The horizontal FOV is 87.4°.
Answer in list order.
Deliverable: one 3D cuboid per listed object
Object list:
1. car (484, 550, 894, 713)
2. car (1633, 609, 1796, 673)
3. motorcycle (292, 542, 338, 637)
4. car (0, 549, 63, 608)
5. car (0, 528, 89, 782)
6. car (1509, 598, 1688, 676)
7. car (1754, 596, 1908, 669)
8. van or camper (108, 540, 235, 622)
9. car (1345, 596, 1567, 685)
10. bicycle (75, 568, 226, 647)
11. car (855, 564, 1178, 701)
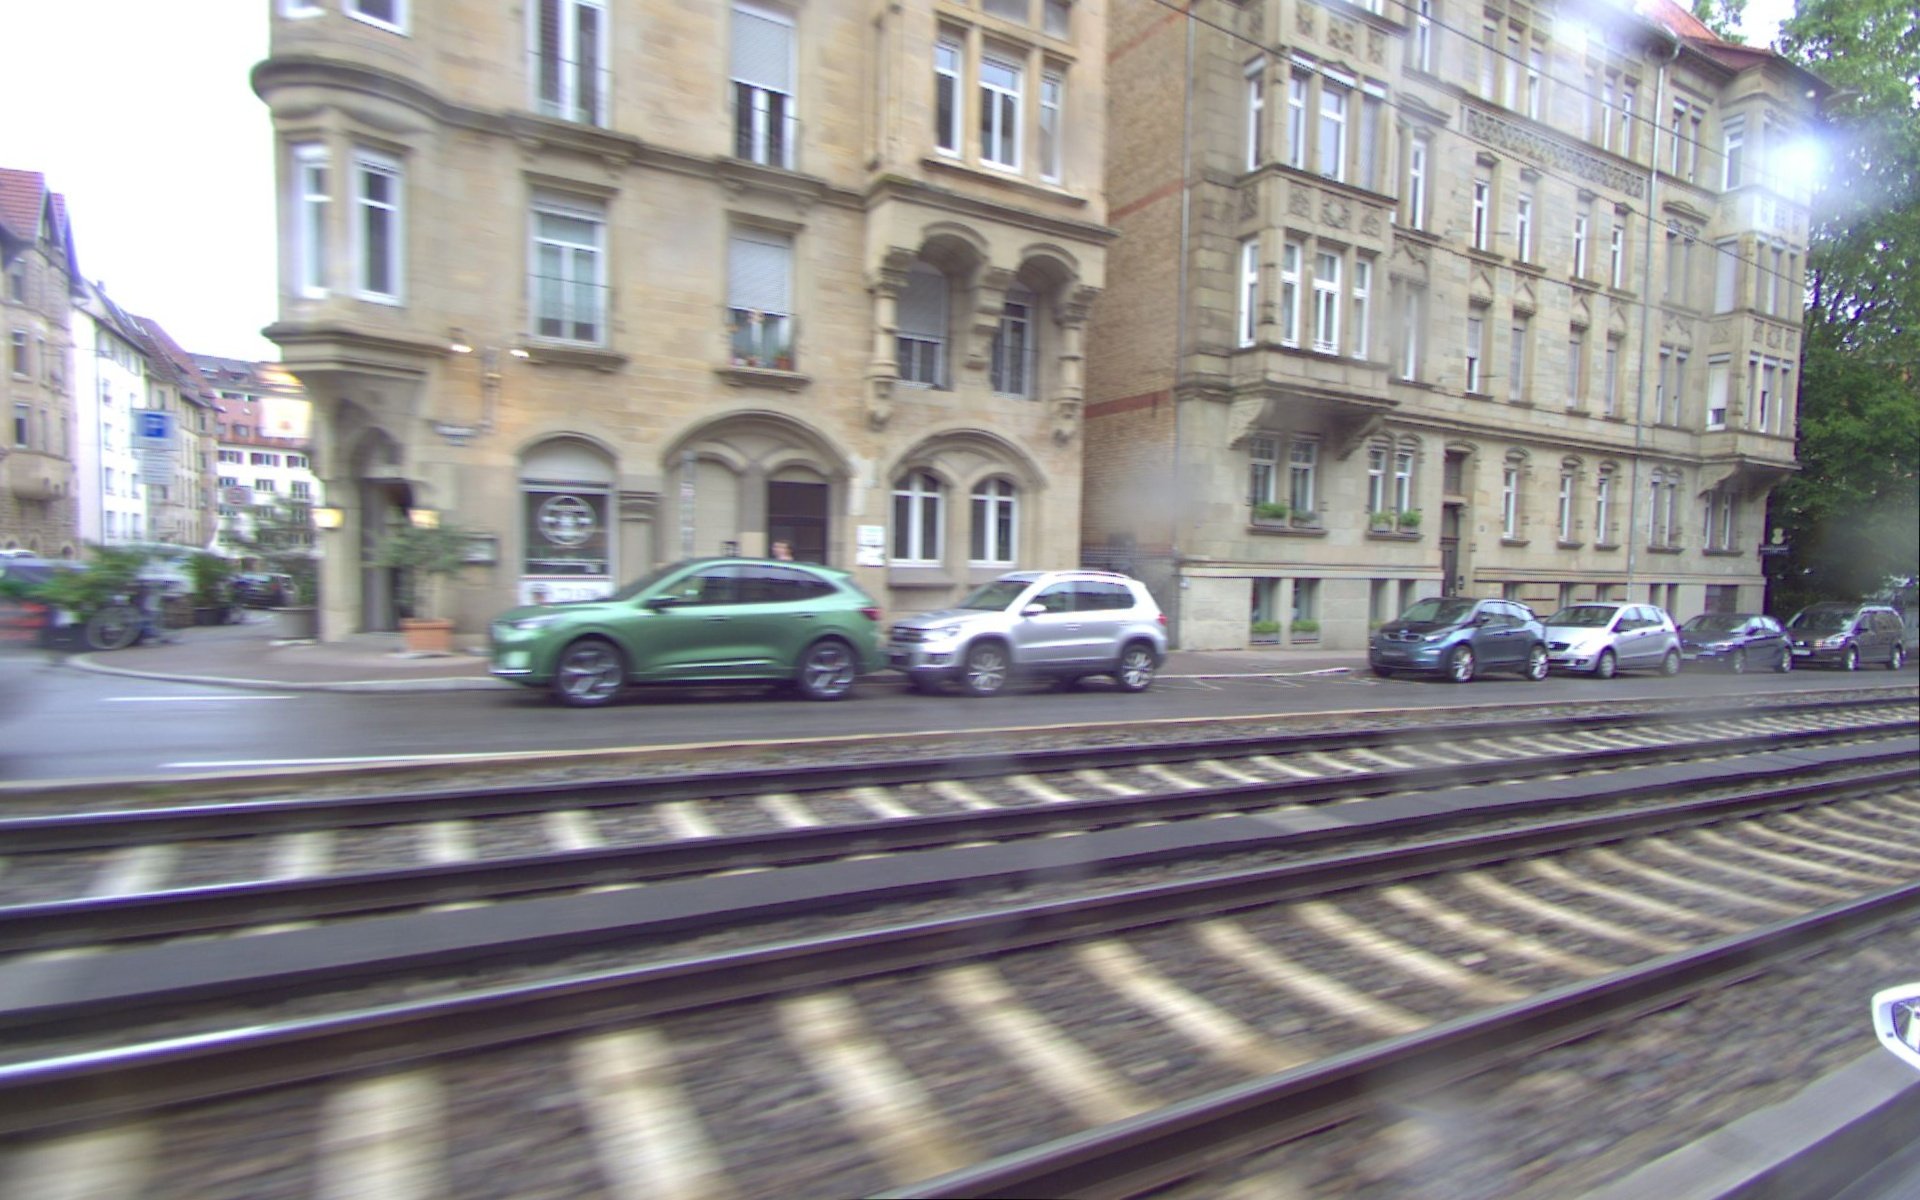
[{"bbox_3d":[-3.164,0.347,11.874,4.374,1.623,1.851,1,0,-28],"label":"car"},{"bbox_3d":[18.533,0.979,24.626,4.221,1.417,1.753,1,0,-31],"label":"car"},{"bbox_3d":[-11.748,-0.181,18.337,0.616,1.641,2.064,1,0,-31],"label":"motorcycle"},{"bbox_3d":[-32.695,-0.727,34.387,1.926,1.895,4.761,1,0,-30],"label":"car"},{"bbox_3d":[-7.856,0.259,5.570,4.245,1.476,1.971,1,0,-31],"label":"car"},{"bbox_3d":[13.880,0.783,21.798,3.808,1.544,1.687,1,0,-30],"label":"car"},{"bbox_3d":[24.256,0.886,27.941,4.761,1.871,1.792,1,0,-30],"label":"car"},{"bbox_3d":[-19.205,-0.413,24.641,1.921,1.799,3.933,1,-1,-31],"label":"van or camper"},{"bbox_3d":[9.614,0.750,19.424,4.120,1.528,1.861,1,0,-30],"label":"car"},{"bbox_3d":[-12.497,0.115,15.601,0.608,1.134,2.137,1,0,0],"label":"bicycle"},{"bbox_3d":[0.852,0.432,14.245,4.266,1.674,1.849,1,0,-31],"label":"car"}]
